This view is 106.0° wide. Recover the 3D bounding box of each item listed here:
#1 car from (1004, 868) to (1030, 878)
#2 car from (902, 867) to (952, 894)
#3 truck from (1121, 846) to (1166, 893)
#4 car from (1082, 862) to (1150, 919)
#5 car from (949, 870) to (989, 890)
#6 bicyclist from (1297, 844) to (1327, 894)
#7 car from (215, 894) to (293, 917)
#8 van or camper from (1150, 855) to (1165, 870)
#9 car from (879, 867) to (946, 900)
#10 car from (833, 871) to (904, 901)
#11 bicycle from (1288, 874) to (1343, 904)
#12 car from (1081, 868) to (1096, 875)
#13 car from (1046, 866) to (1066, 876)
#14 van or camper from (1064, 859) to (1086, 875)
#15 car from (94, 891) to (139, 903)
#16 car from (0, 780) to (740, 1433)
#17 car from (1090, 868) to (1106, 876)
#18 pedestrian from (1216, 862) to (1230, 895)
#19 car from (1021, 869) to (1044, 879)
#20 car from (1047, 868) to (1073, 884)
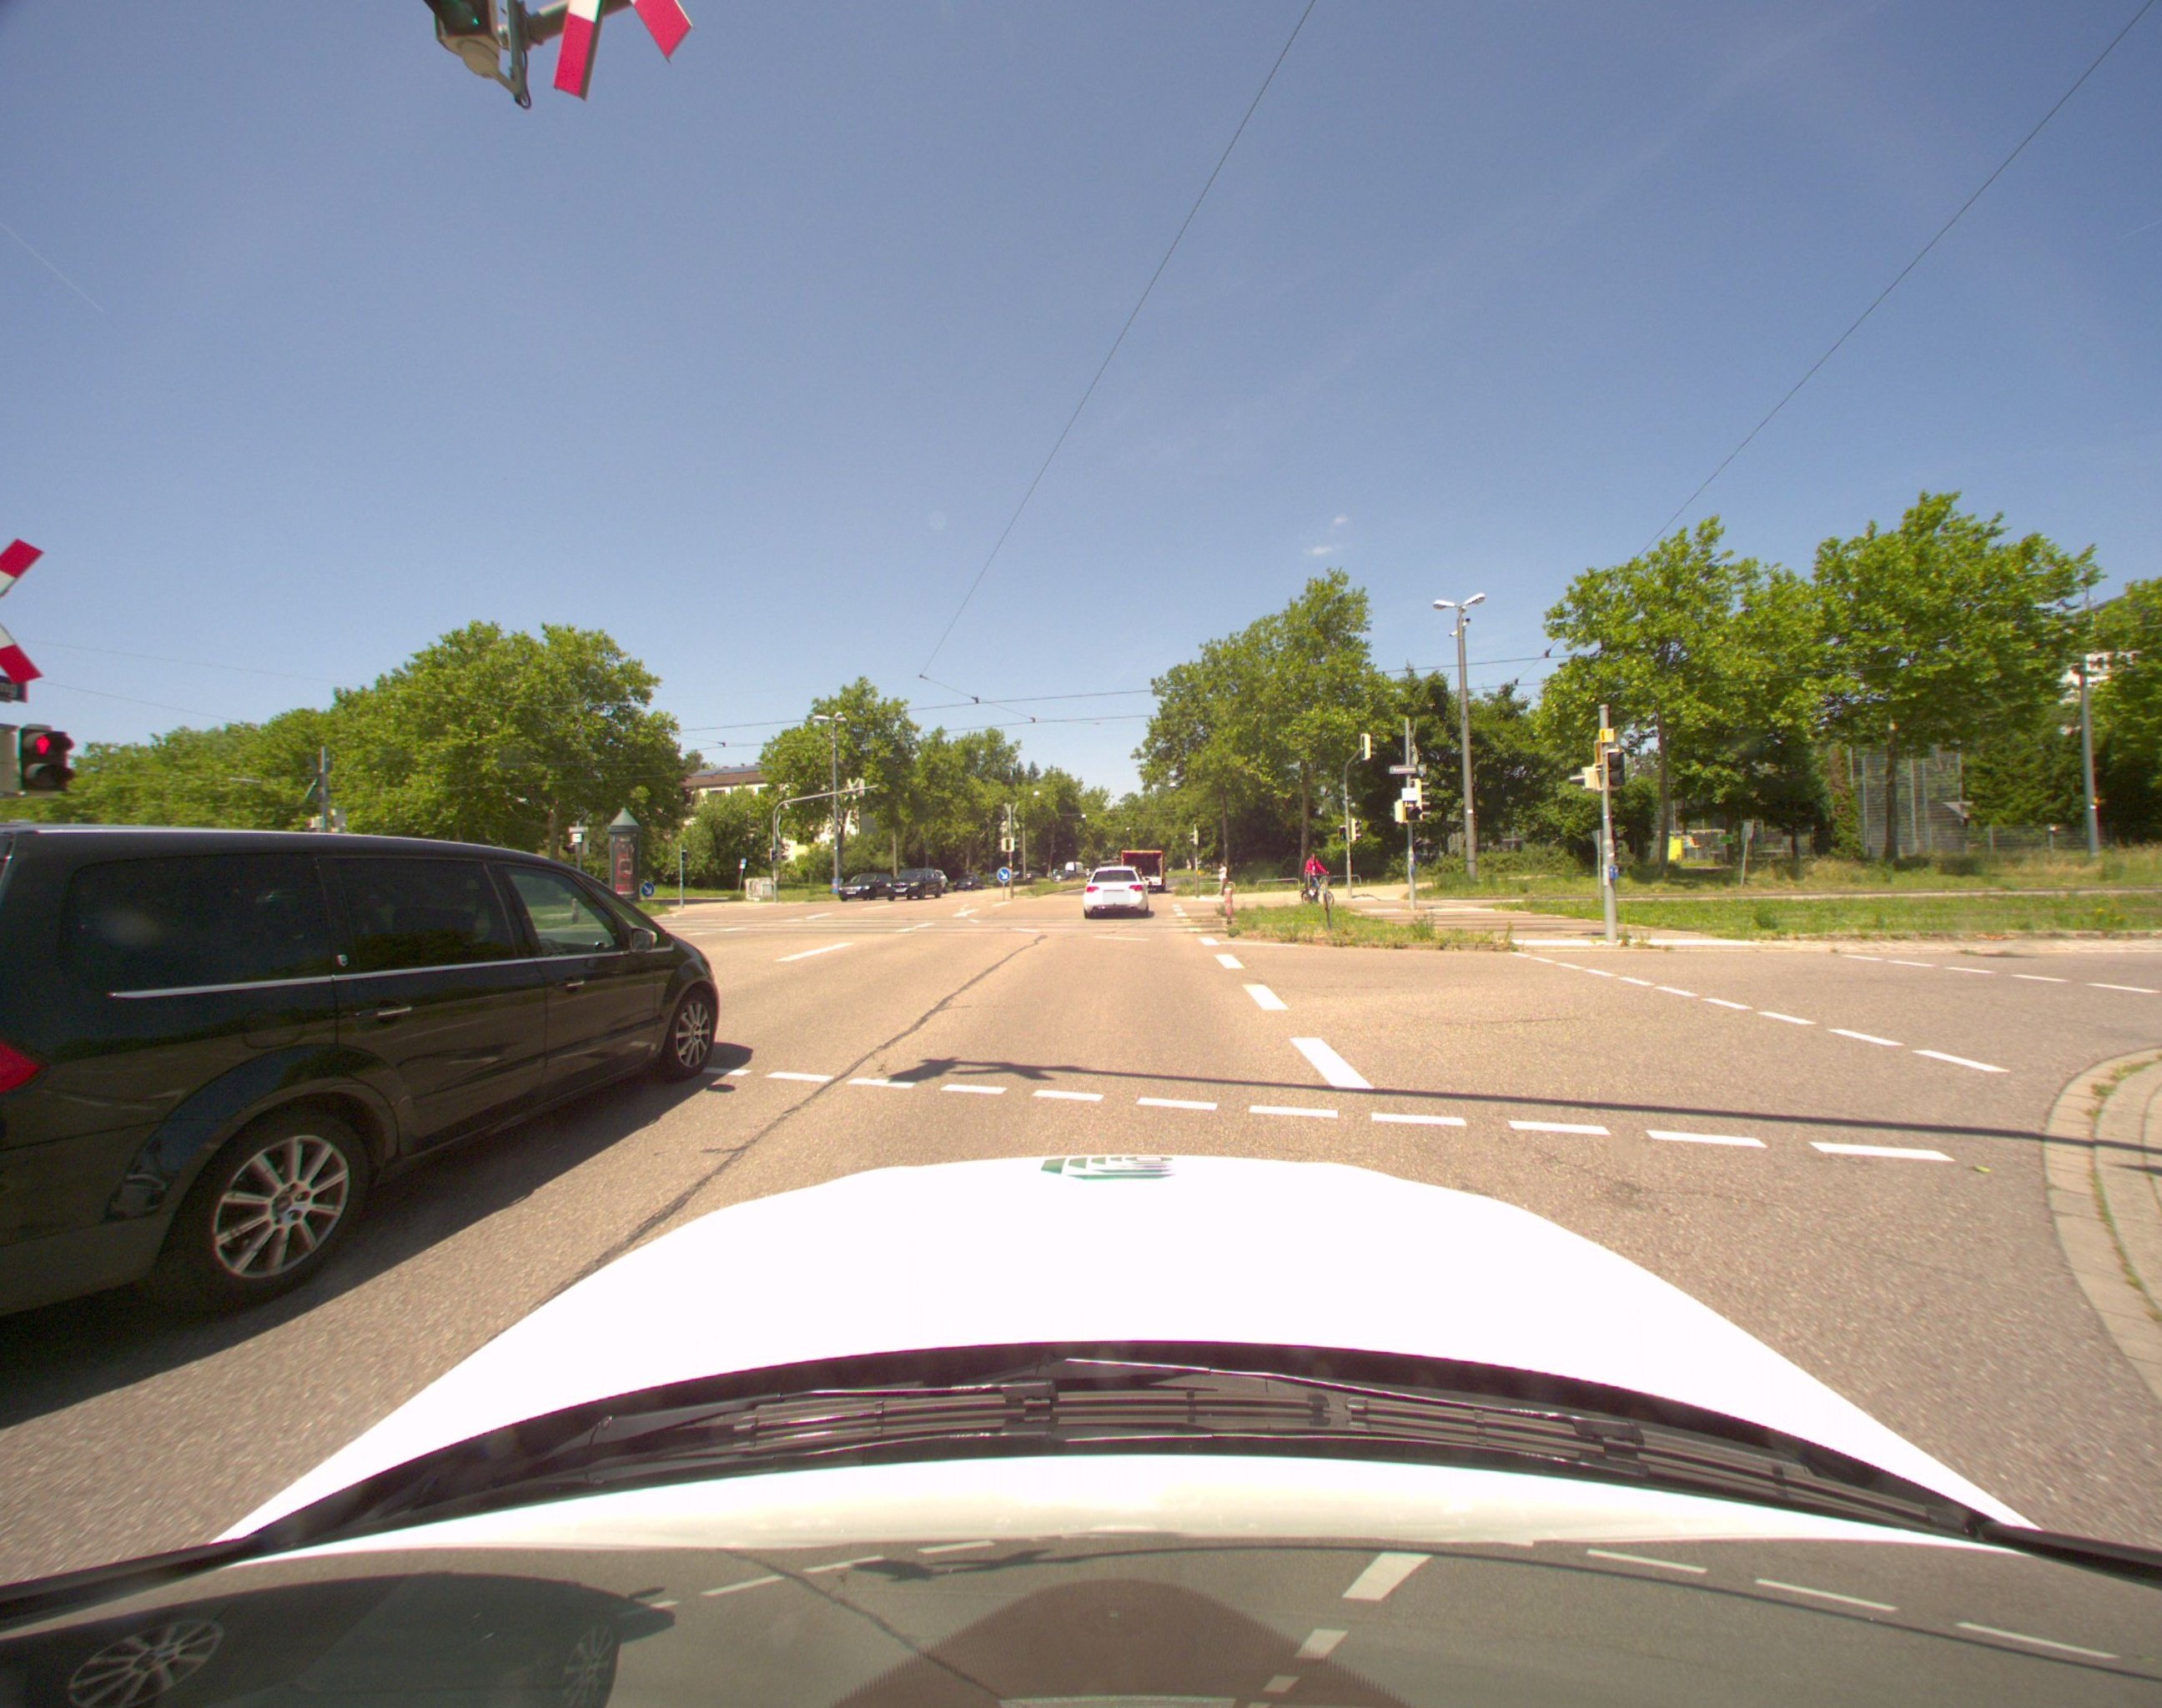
[{"bbox_3d":[-9.163,2.723,116.774,1.864,1.393,4.022,-2,-1,24],"label":"car"},{"bbox_3d":[-10.080,1.691,53.635,1.776,1.615,4.416,-2,-1,9],"label":"car"},{"bbox_3d":[3.843,0.839,48.682,2.498,2.559,7.616,0,0,6],"label":"truck"},{"bbox_3d":[0.965,0.983,23.230,1.756,1.445,3.617,-1,-1,1],"label":"car"},{"bbox_3d":[-8.563,1.970,62.442,1.708,1.455,3.883,-2,-1,13],"label":"car"},{"bbox_3d":[7.430,0.475,26.166,0.581,1.556,0.667,-1,-1,-30],"label":"bicyclist"},{"bbox_3d":[-58.765,3.661,57.902,1.481,1.397,3.570,-2,-1,25],"label":"car"},{"bbox_3d":[16.944,1.905,180.504,2.643,3.331,5.518,-1,-1,12],"label":"van or camper"},{"bbox_3d":[-8.521,1.467,41.542,1.898,1.539,4.308,-2,-1,8],"label":"car"},{"bbox_3d":[-11.589,1.722,44.759,1.937,1.440,4.759,-2,-1,9],"label":"car"},{"bbox_3d":[7.486,1.114,26.086,0.590,0.896,1.794,-1,-1,-30],"label":"bicycle"},{"bbox_3d":[1.312,3.149,146.684,1.680,1.284,3.819,-2,-1,17],"label":"car"},{"bbox_3d":[-4.030,2.773,131.708,1.867,1.474,4.018,-2,-1,17],"label":"car"},{"bbox_3d":[-0.968,2.172,140.412,2.165,2.587,5.333,-2,-1,18],"label":"van or camper"},{"bbox_3d":[-96.833,4.313,81.790,0.996,0.994,2.737,-2,-1,26],"label":"car"},{"bbox_3d":[-3.753,0.711,4.203,1.847,1.756,4.651,-1,-1,2],"label":"car"},{"bbox_3d":[3.179,3.388,152.387,1.813,1.391,3.967,-2,-1,21],"label":"car"},{"bbox_3d":[6.385,1.090,36.690,0.549,1.484,0.632,-2,-1,14],"label":"pedestrian"},{"bbox_3d":[-7.287,2.998,122.055,1.865,1.376,4.021,-2,-1,21],"label":"car"},{"bbox_3d":[-2.016,2.123,79.659,1.726,1.395,4.189,-3,-2,9],"label":"car"}]
